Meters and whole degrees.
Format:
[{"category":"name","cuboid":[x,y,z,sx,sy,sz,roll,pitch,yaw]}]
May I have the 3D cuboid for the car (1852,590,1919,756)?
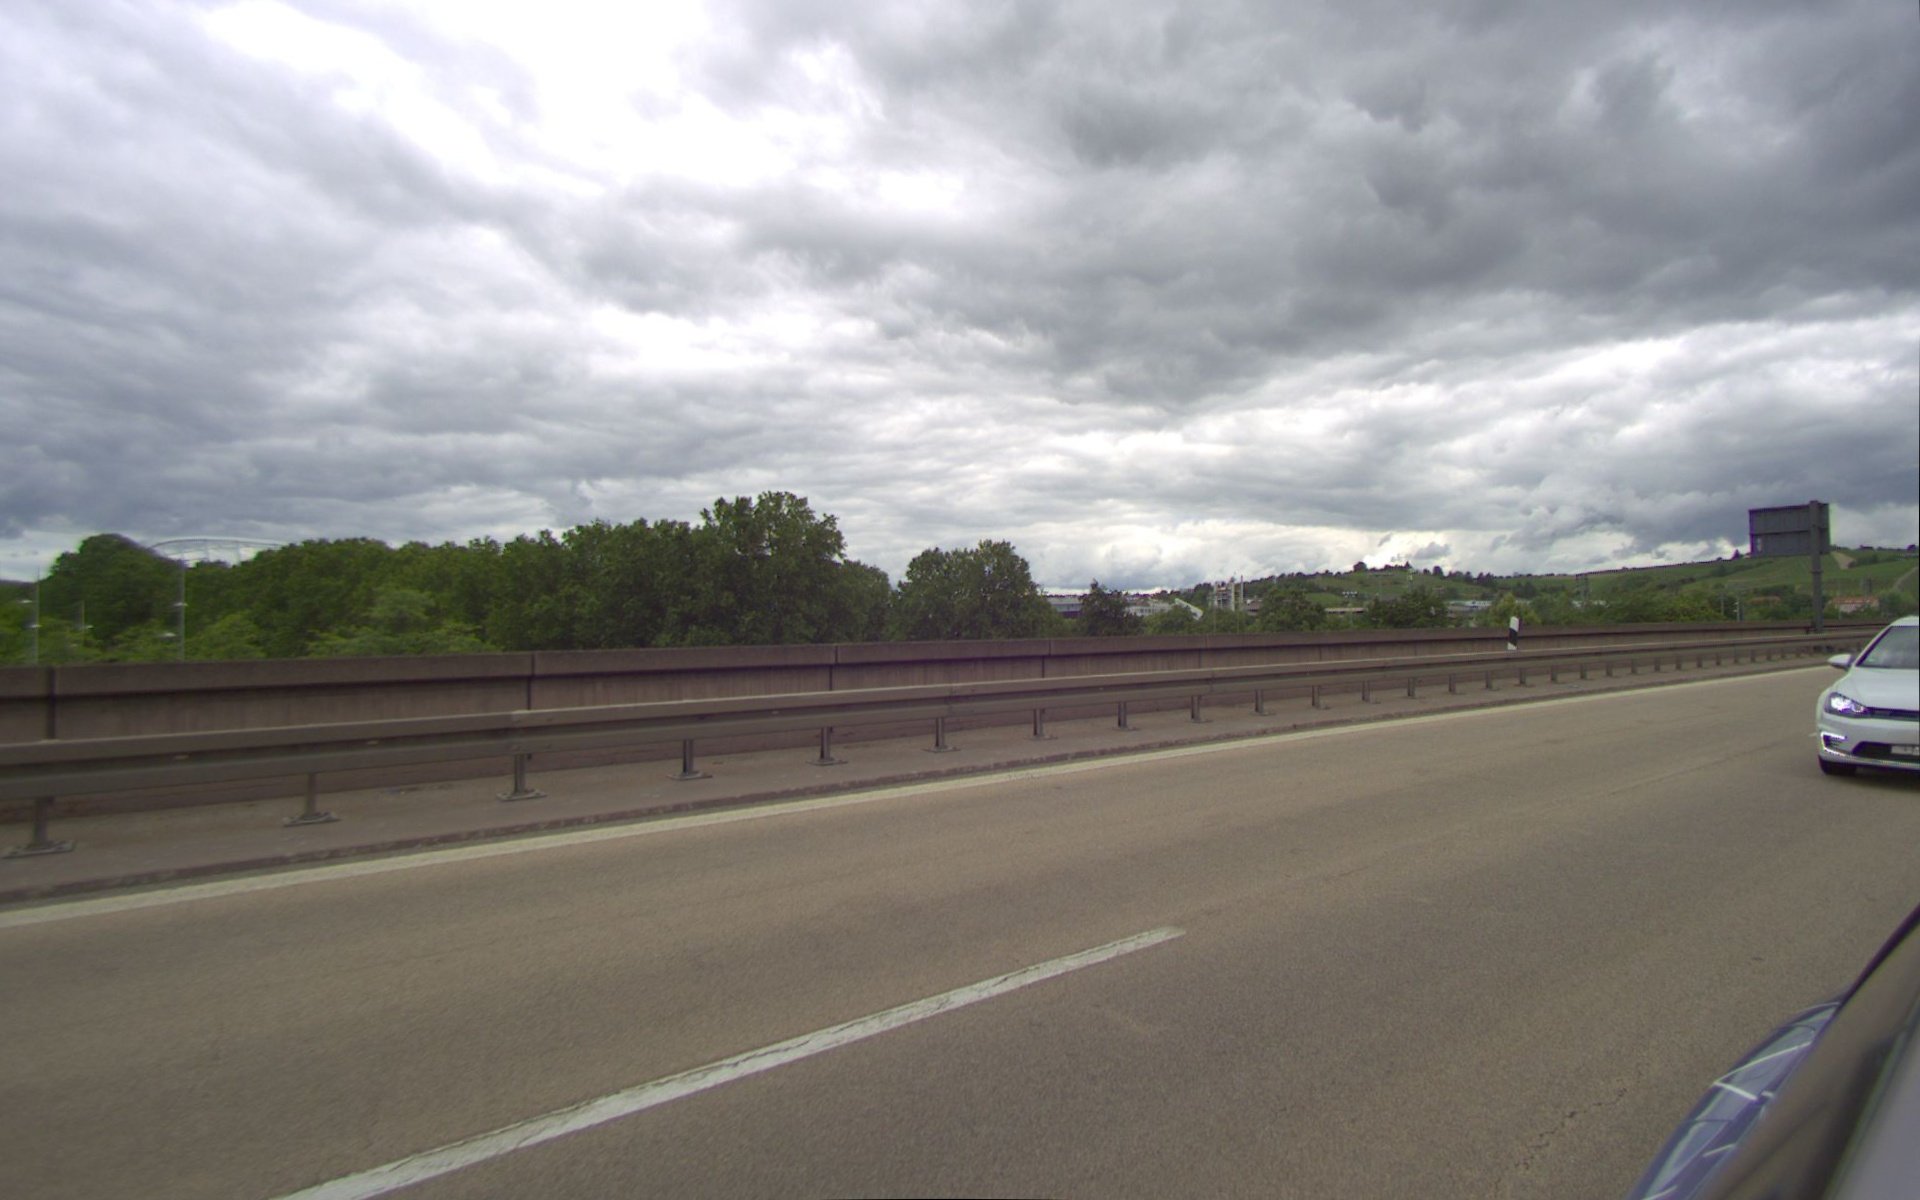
[{"category":"car","cuboid":[10.826,0.668,10.256,3.986,1.527,1.931,-1,0,-37]}]
